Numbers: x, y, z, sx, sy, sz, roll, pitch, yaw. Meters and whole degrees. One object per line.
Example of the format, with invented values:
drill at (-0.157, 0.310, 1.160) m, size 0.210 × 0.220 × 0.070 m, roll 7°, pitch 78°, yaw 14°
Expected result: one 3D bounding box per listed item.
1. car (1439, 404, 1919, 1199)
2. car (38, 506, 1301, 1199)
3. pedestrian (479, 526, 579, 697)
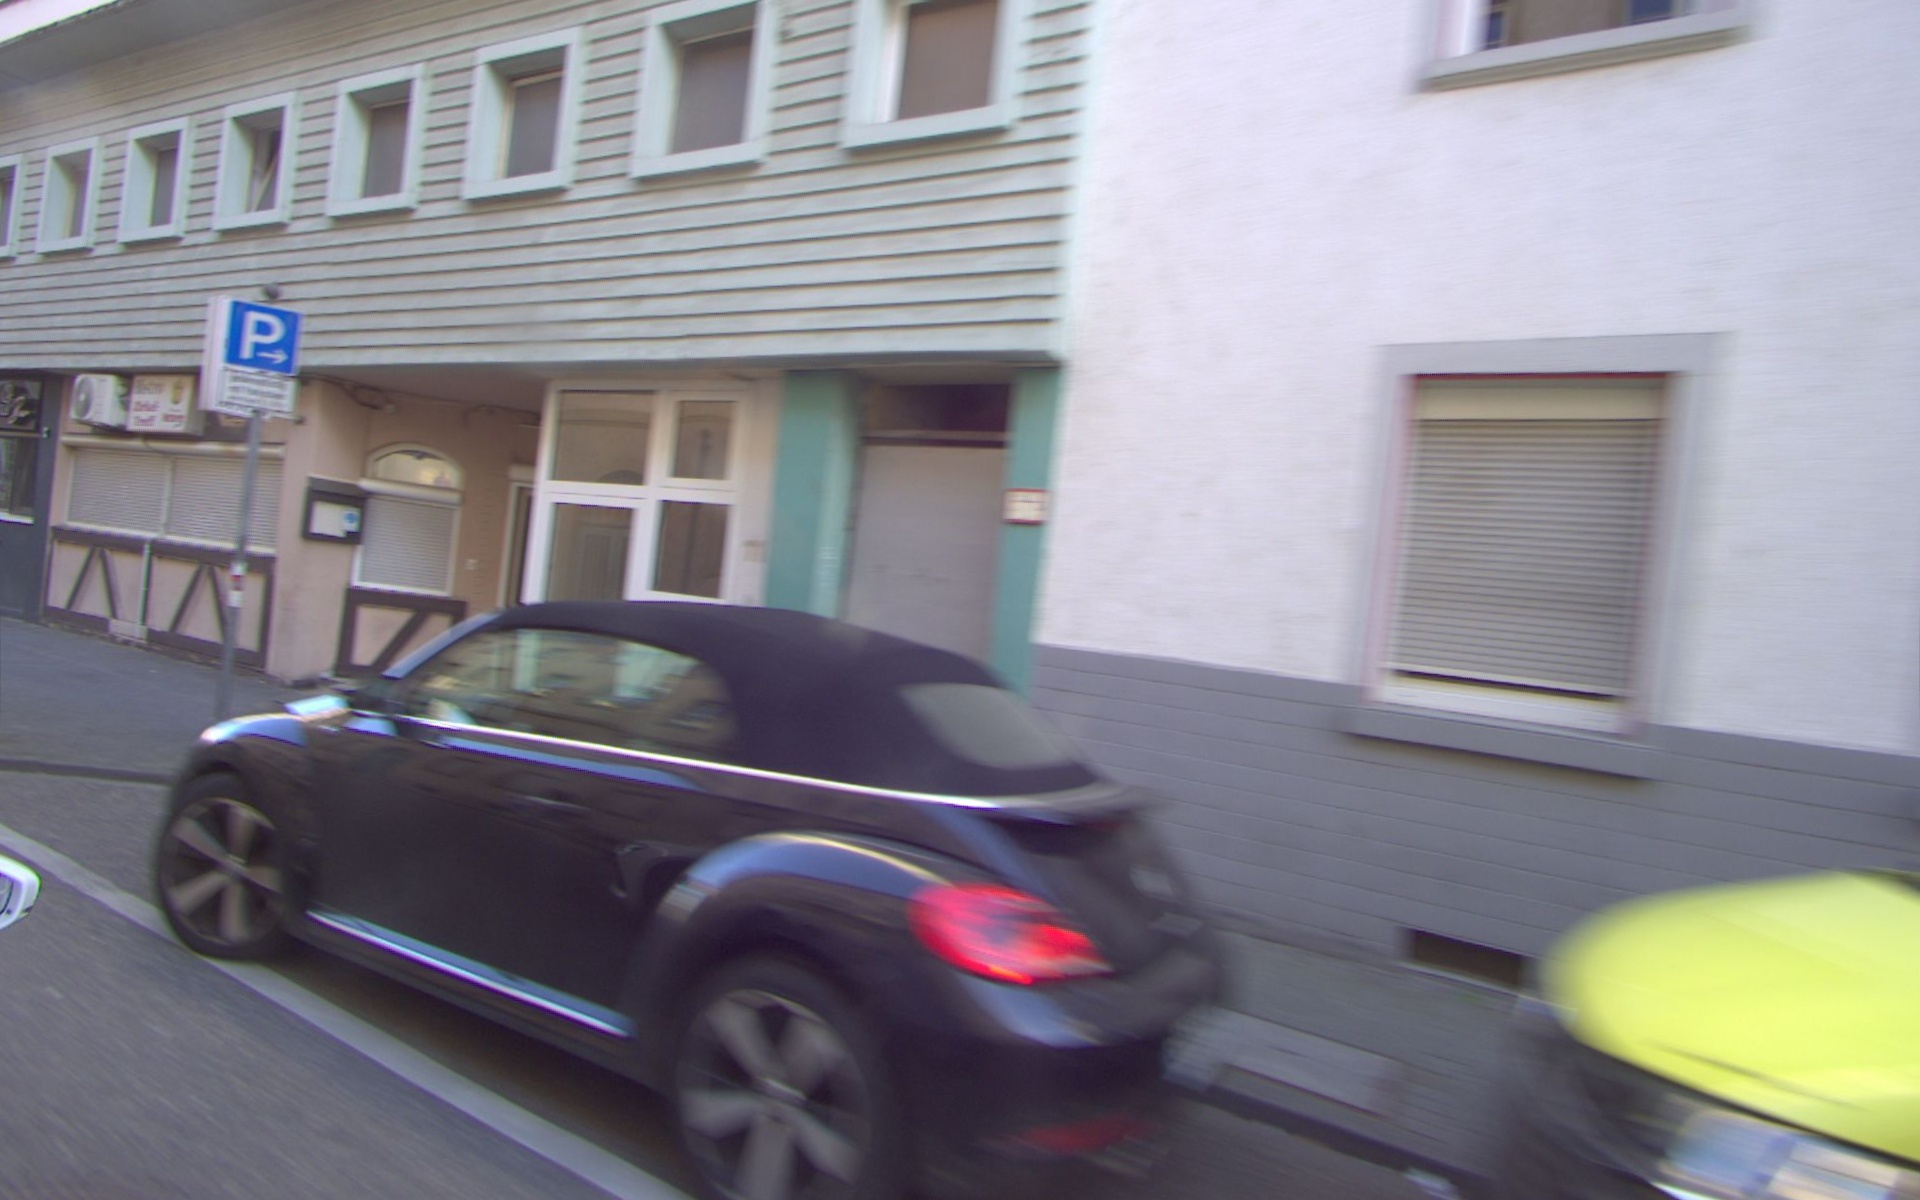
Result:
car at (3.258, 0.972, 1.143) m, size 4.763 × 1.904 × 1.887 m, roll 7°, pitch -1°, yaw 30°
car at (-1.186, 0.685, 3.749) m, size 4.292 × 1.507 × 1.888 m, roll 7°, pitch -1°, yaw 28°
pedestrian at (-4.679, 0.125, 10.950) m, size 0.765 × 1.738 × 0.488 m, roll 7°, pitch 0°, yaw -17°
